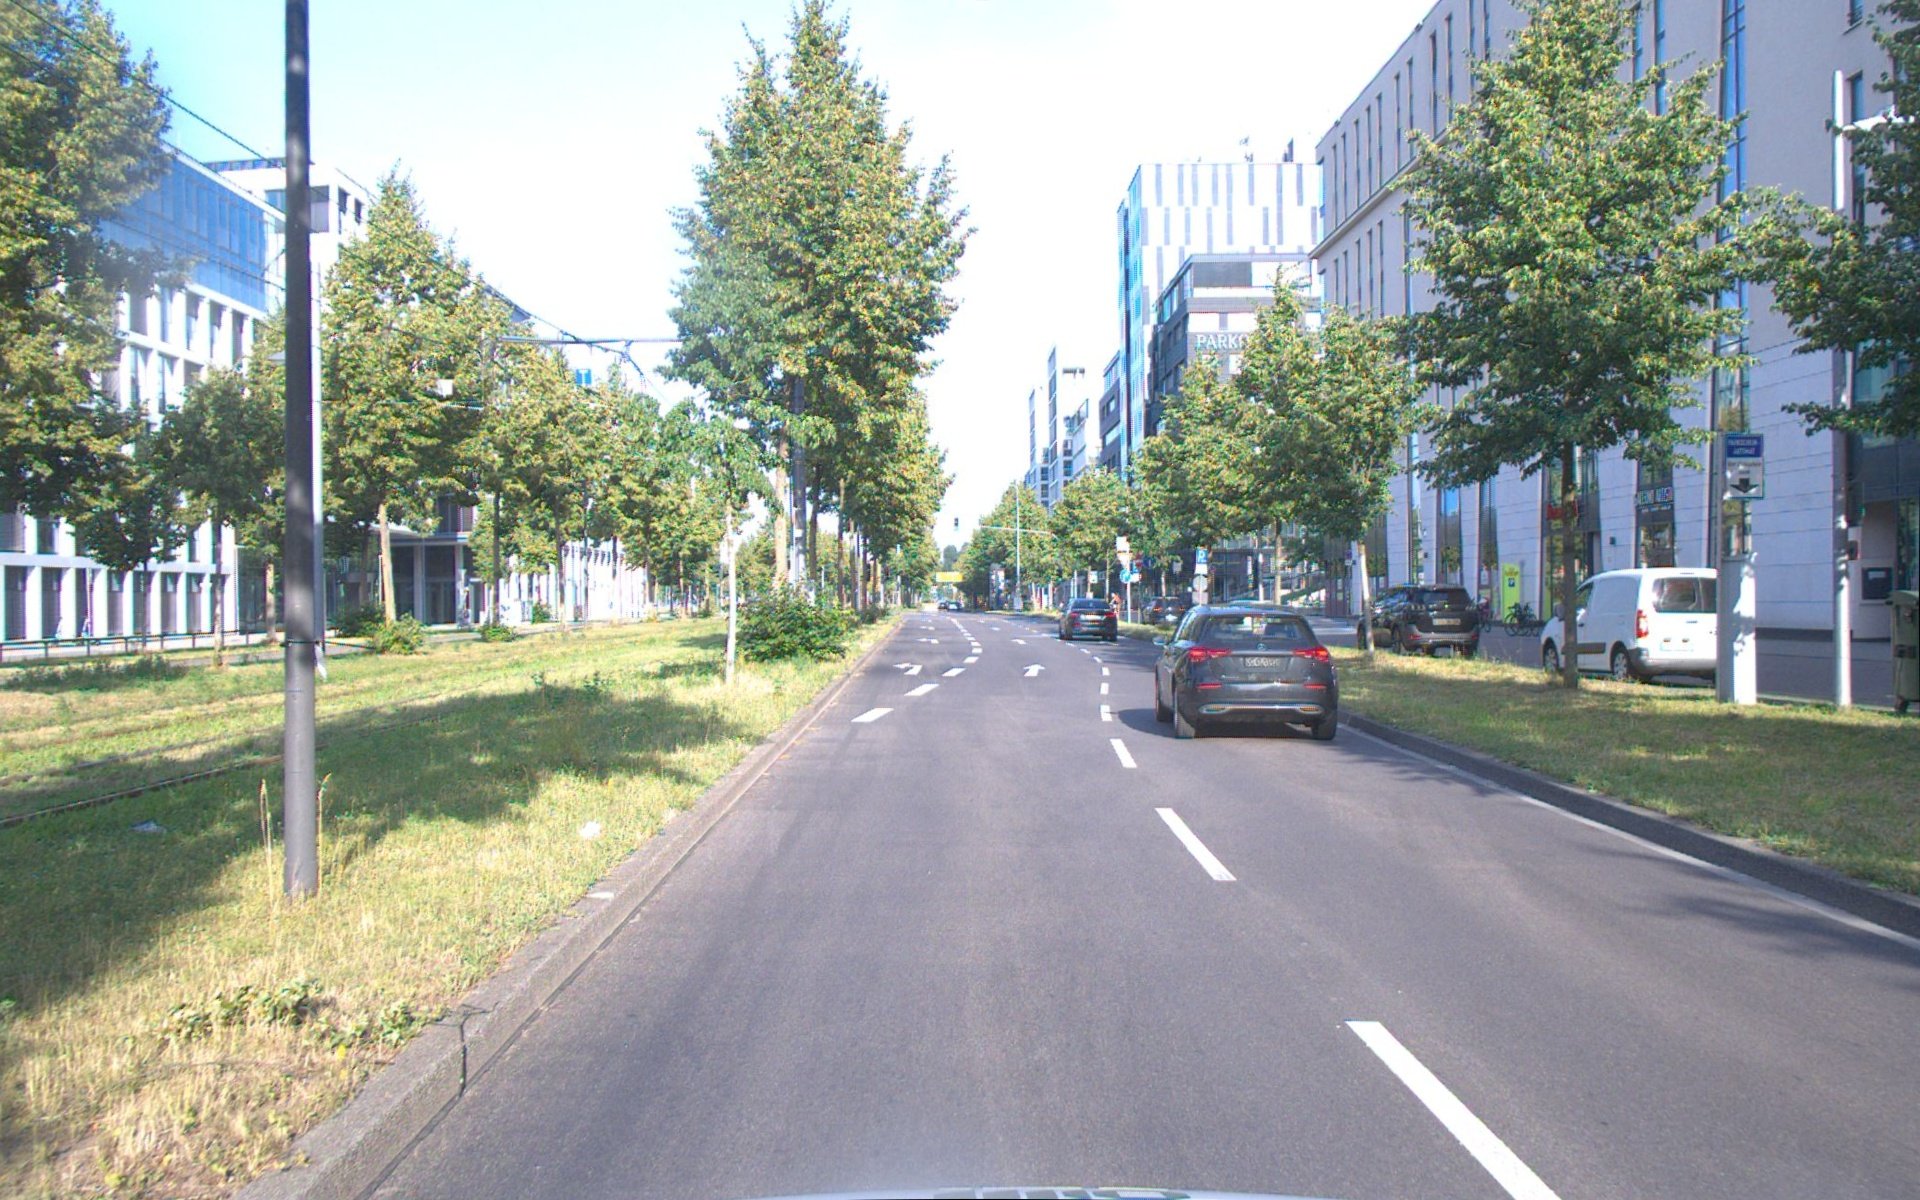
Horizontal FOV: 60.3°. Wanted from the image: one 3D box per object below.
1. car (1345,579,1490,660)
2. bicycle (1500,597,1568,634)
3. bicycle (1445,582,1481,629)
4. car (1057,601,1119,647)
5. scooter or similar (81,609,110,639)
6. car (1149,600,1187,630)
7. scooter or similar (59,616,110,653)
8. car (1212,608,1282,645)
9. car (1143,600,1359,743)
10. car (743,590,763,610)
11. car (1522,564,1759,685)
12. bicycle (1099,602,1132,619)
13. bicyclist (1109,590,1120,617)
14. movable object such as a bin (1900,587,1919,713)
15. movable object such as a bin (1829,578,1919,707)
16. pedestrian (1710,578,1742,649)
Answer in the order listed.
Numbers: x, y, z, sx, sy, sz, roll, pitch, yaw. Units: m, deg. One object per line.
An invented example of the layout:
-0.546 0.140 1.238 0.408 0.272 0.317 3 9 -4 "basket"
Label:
10.548 0.406 38.514 1.859 1.738 4.675 1 0 -3 "car"
17.719 0.482 51.076 1.866 1.103 0.633 -2 -1 36 "bicycle"
17.473 0.218 57.489 0.544 1.595 2.212 1 -1 -1 "bicycle"
4.438 0.829 57.735 1.822 1.551 3.784 1 -1 -1 "car"
-36.840 1.036 70.488 0.328 1.247 1.300 1 -1 12 "scooter or similar"
10.045 0.709 80.139 1.573 1.394 4.159 1 -1 4 "car"
-36.430 1.446 68.798 1.888 1.502 0.415 1 -1 2 "scooter or similar"
10.220 0.931 59.104 1.674 1.264 3.904 1 -1 -2 "car"
3.230 0.762 19.083 1.738 1.449 3.960 1 -1 -1 "car"
-19.324 0.047 154.657 1.651 1.806 3.878 1 -1 -5 "car"
10.705 0.383 26.370 1.791 1.741 4.293 1 -1 -4 "car"
10.041 0.665 106.827 2.092 1.030 0.571 1 -1 -5 "bicycle"
9.968 0.245 106.809 0.563 1.737 0.540 1 -1 -5 "bicyclist"
10.267 0.509 16.335 1.252 1.258 1.190 1 -1 -5 "movable object such as a bin"
10.170 0.450 17.547 1.252 1.314 1.177 1 -1 -5 "movable object such as a bin"
19.641 0.355 42.417 0.526 1.793 0.646 1 -1 -1 "pedestrian"
